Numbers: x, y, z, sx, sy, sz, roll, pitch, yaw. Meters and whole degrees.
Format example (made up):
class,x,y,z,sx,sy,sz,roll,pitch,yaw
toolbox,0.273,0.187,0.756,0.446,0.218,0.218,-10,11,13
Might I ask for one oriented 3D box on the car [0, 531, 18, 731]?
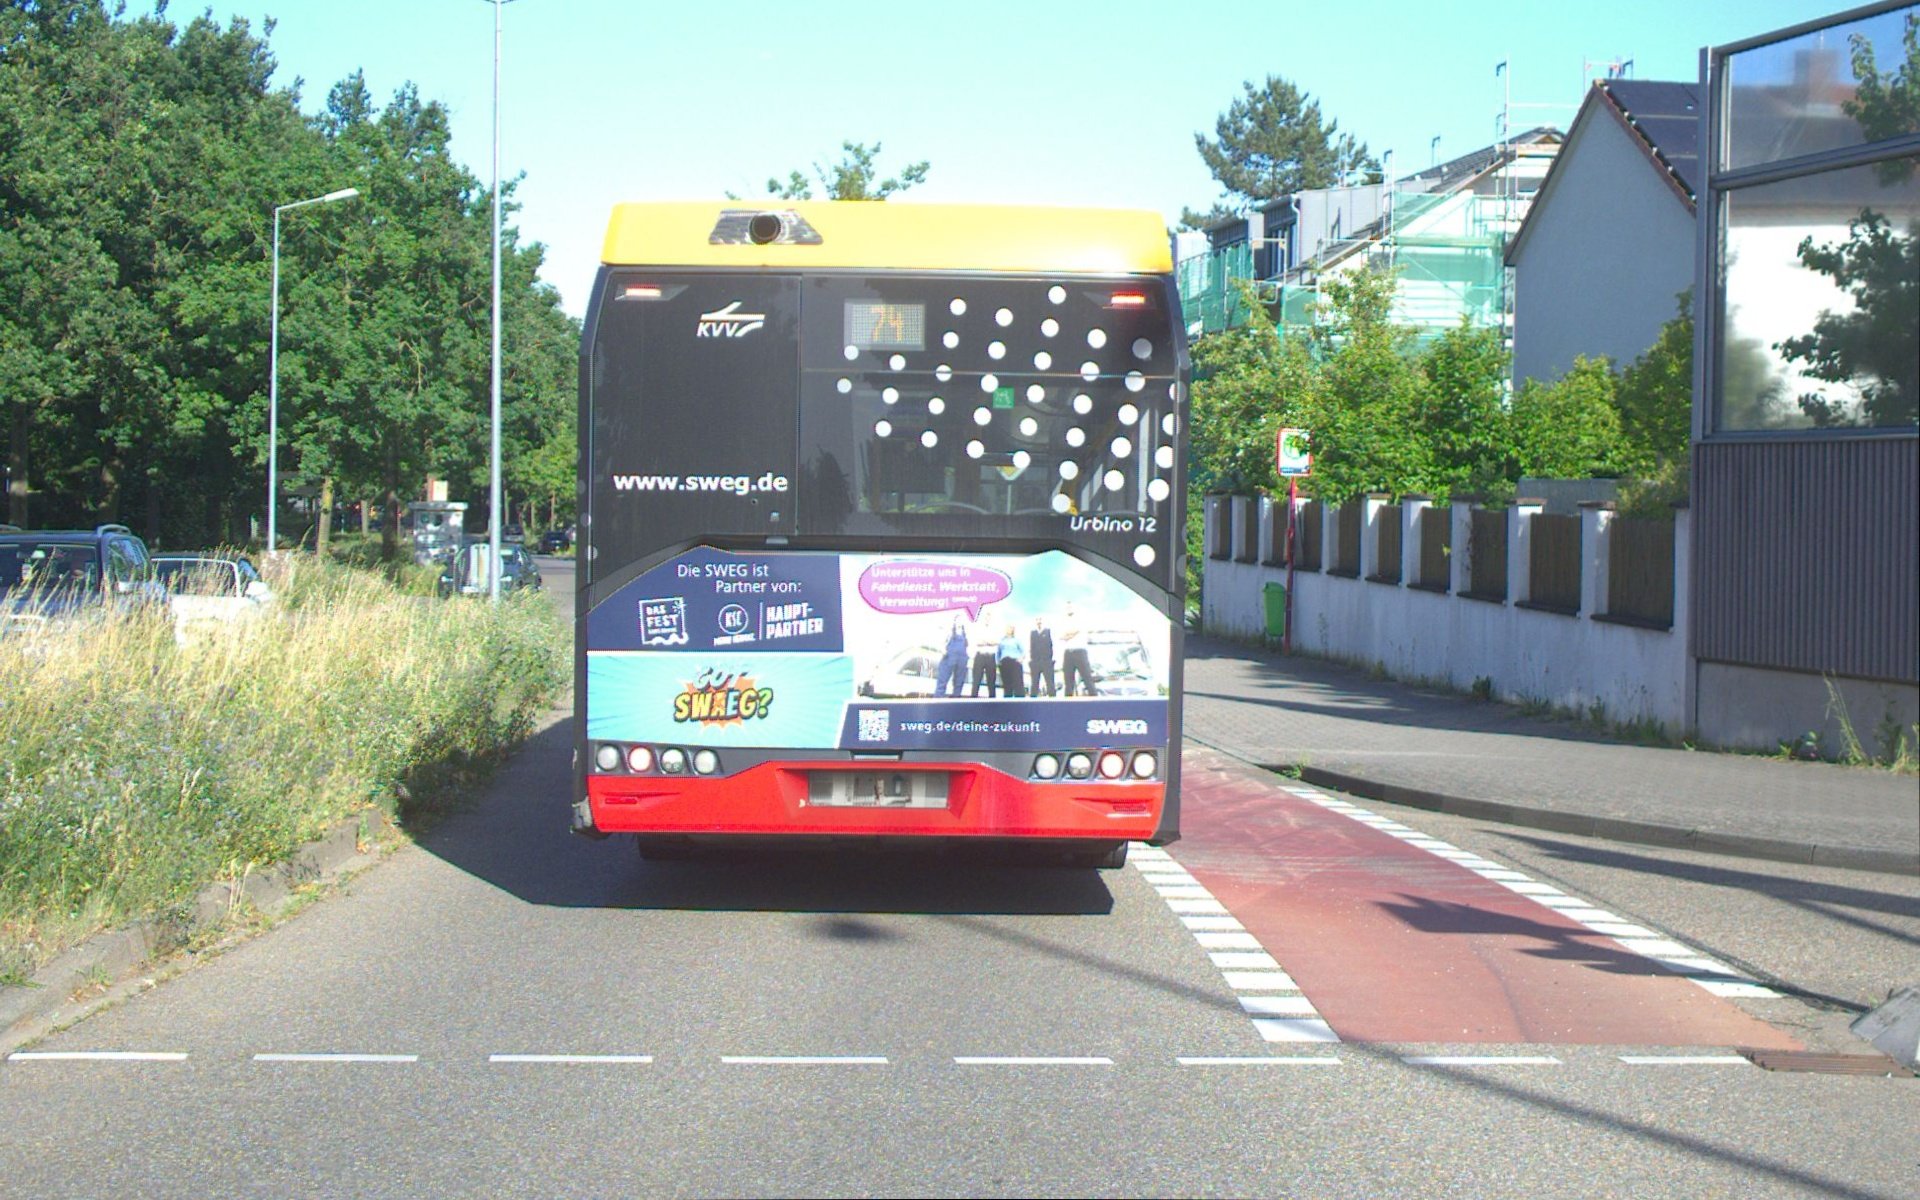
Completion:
class,x,y,z,sx,sy,sz,roll,pitch,yaw
car,-7.934,0.269,23.995,1.746,1.478,3.888,0,2,-2

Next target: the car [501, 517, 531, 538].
class,x,y,z,sx,sy,sz,roll,pitch,yaw
car,-31.112,-5.097,240.983,1.933,1.449,4.001,1,1,-9

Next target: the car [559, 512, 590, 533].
class,x,y,z,sx,sy,sz,roll,pitch,yaw
car,-27.082,-5.450,241.254,1.933,1.449,4.001,1,1,-9

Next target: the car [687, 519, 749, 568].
class,x,y,z,sx,sy,sz,roll,pitch,yaw
car,-8.818,-2.062,125.149,1.935,1.698,4.001,1,1,-8

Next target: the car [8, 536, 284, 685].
class,x,y,z,sx,sy,sz,roll,pitch,yaw
car,-8.409,0.091,35.908,1.993,1.445,4.399,0,0,-2

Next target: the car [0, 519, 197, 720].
class,x,y,z,sx,sy,sz,roll,pitch,yaw
car,-8.171,0.109,30.435,1.993,1.610,4.531,0,2,-2

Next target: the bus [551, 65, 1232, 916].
class,x,y,z,sx,sy,sz,roll,pitch,yaw
bus,-0.402,-0.517,20.152,2.757,3.446,12.399,0,1,-1

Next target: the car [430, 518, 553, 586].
class,x,y,z,sx,sy,sz,roll,pitch,yaw
car,-10.109,-1.056,74.453,1.710,1.426,3.999,0,1,6

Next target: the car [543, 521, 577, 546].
class,x,y,z,sx,sy,sz,roll,pitch,yaw
car,-25.081,-4.187,215.435,1.933,1.537,4.001,1,1,-8

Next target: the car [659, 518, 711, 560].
class,x,y,z,sx,sy,sz,roll,pitch,yaw
car,-11.806,-2.637,147.194,1.933,1.736,4.001,1,1,-8
